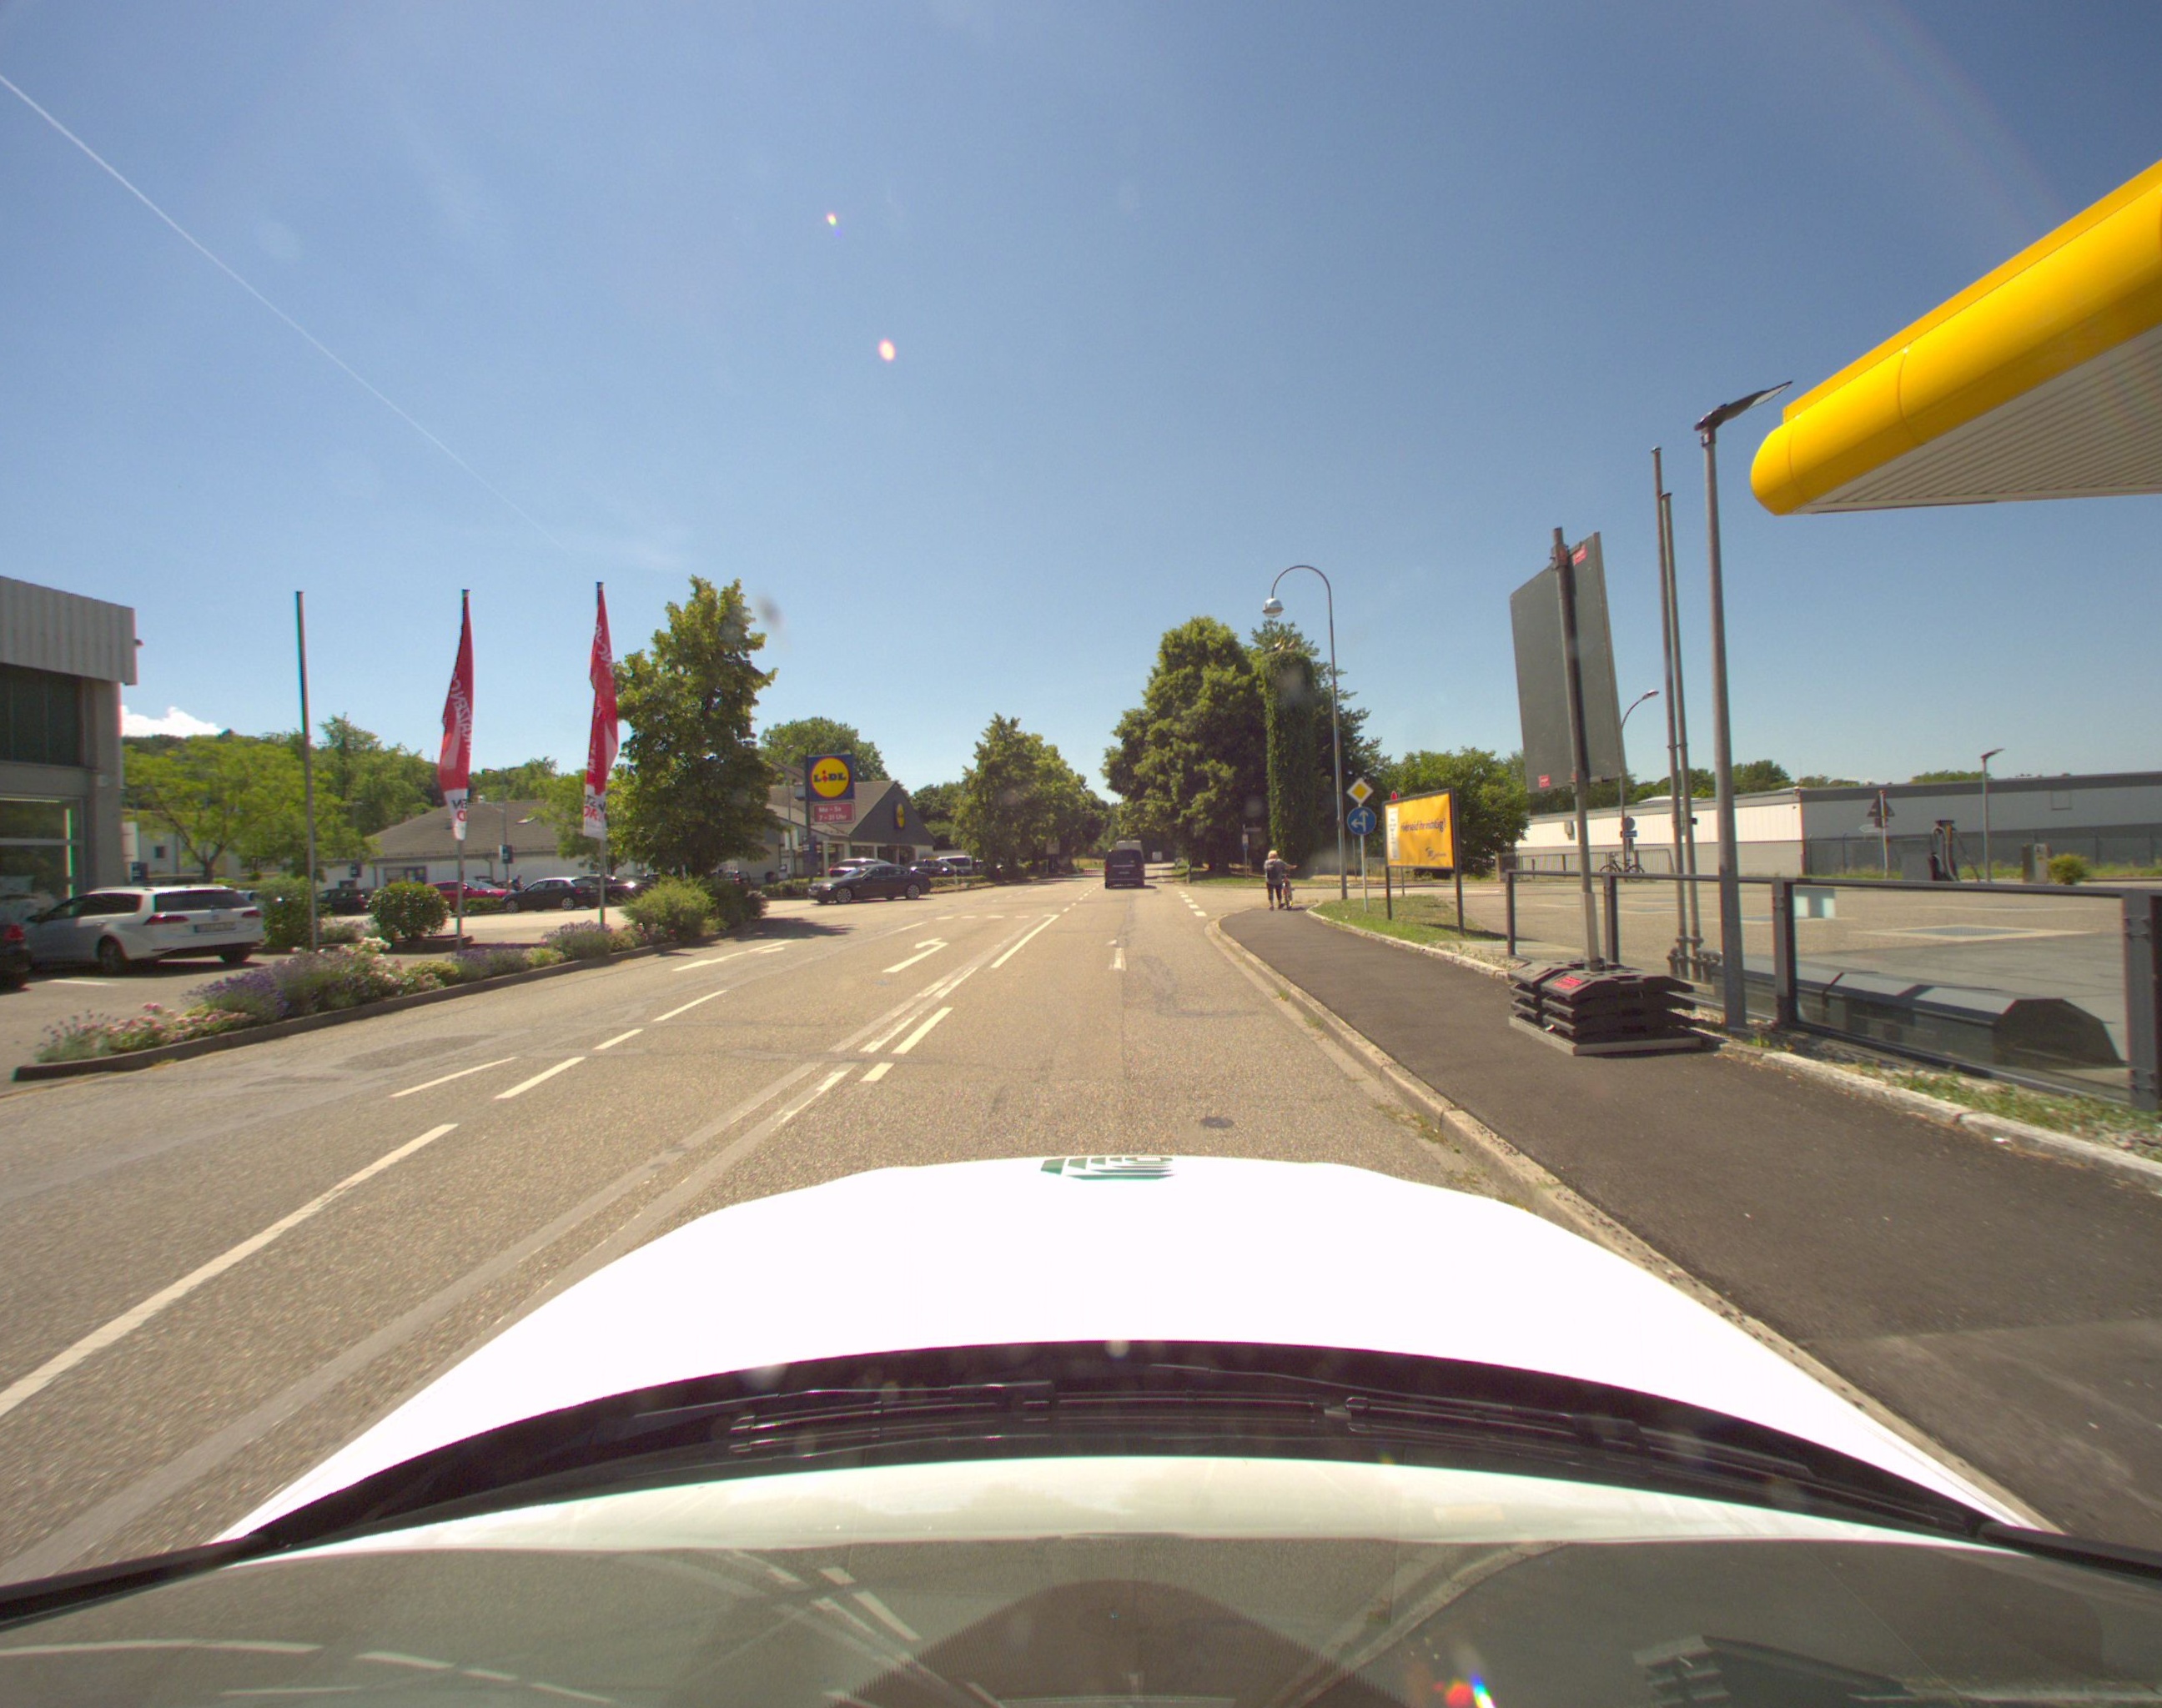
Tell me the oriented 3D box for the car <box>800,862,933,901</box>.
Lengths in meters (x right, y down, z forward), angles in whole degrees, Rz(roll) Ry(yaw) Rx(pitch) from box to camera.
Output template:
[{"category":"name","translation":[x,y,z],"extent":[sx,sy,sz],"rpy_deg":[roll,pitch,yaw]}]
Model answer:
[{"category":"car","translation":[-8.322,1.040,31.896],"extent":[1.914,1.400,4.717],"rpy_deg":[-2,-1,44]}]

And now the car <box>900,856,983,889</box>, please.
[{"category":"car","translation":[-8.288,1.116,48.540],"extent":[4.358,1.845,2.109],"rpy_deg":[-1,-1,10]}]

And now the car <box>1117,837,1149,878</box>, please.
[{"category":"car","translation":[3.597,0.276,55.939],"extent":[2.068,2.702,4.672],"rpy_deg":[0,-1,4]}]

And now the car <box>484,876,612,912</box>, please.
[{"category":"car","translation":[-22.839,1.693,35.017],"extent":[4.227,1.369,1.767],"rpy_deg":[-1,-1,-4]}]

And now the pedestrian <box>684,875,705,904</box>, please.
[{"category":"pedestrian","translation":[-20.288,1.849,42.766],"extent":[0.891,1.483,0.803],"rpy_deg":[-1,-1,-19]}]

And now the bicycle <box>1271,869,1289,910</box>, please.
[{"category":"bicycle","translation":[4.745,0.835,19.418],"extent":[0.375,0.912,1.604],"rpy_deg":[-2,0,14]}]

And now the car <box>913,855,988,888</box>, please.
[{"category":"car","translation":[-8.180,1.091,51.259],"extent":[4.339,1.980,1.906],"rpy_deg":[-1,-1,2]}]

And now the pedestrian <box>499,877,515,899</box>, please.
[{"category":"pedestrian","translation":[-41.422,2.439,58.753],"extent":[0.671,1.580,0.634],"rpy_deg":[-1,-1,3]}]

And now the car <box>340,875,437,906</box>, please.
[{"category":"car","translation":[-38.279,1.978,45.157],"extent":[1.785,1.601,4.004],"rpy_deg":[-1,-1,4]}]

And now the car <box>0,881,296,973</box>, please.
[{"category":"car","translation":[-17.085,1.288,14.964],"extent":[4.151,1.446,1.988],"rpy_deg":[-1,0,16]}]

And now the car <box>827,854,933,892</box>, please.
[{"category":"car","translation":[-10.117,0.953,41.108],"extent":[4.680,1.762,2.103],"rpy_deg":[-1,-1,8]}]

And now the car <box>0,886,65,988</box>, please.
[{"category":"car","translation":[-17.698,1.278,12.172],"extent":[3.596,1.475,2.010],"rpy_deg":[-1,0,19]}]

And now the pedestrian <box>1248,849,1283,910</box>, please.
[{"category":"pedestrian","translation":[4.472,0.610,19.684],"extent":[0.763,1.421,0.871],"rpy_deg":[-2,-1,14]}]

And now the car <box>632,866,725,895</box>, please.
[{"category":"car","translation":[-22.466,1.478,45.542],"extent":[4.297,1.530,1.827],"rpy_deg":[-1,-1,0]}]

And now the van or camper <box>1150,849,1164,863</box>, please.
[{"category":"van or camper","translation":[16.678,0.439,178.629],"extent":[2.622,2.929,5.207],"rpy_deg":[-1,-1,1]}]

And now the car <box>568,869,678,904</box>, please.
[{"category":"car","translation":[-22.493,1.587,40.128],"extent":[4.303,1.606,1.909],"rpy_deg":[-1,-1,-4]}]

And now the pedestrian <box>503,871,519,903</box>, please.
[{"category":"pedestrian","translation":[-33.431,1.930,47.770],"extent":[0.757,1.806,0.763],"rpy_deg":[0,-1,-38]}]

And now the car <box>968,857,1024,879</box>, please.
[{"category":"car","translation":[-7.174,1.177,68.947],"extent":[4.382,1.776,2.074],"rpy_deg":[0,-1,3]}]

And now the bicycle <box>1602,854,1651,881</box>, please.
[{"category":"bicycle","translation":[22.923,0.572,34.245],"extent":[1.684,1.098,0.468],"rpy_deg":[-1,-1,6]}]

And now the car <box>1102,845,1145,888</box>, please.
[{"category":"car","translation":[2.066,0.581,39.754],"extent":[1.985,1.953,5.008],"rpy_deg":[0,-1,3]}]

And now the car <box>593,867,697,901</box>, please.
[{"category":"car","translation":[-22.991,1.575,43.040],"extent":[4.297,1.655,2.114],"rpy_deg":[-1,-1,0]}]

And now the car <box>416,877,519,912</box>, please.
[{"category":"car","translation":[-28.727,1.895,38.201],"extent":[3.593,1.486,1.651],"rpy_deg":[-1,-1,1]}]

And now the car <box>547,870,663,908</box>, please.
[{"category":"car","translation":[-21.835,1.576,37.507],"extent":[4.227,1.589,1.767],"rpy_deg":[-1,-1,-4]}]

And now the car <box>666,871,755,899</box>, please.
[{"category":"car","translation":[-21.563,1.777,47.537],"extent":[4.297,1.530,1.827],"rpy_deg":[-1,-1,0]}]
